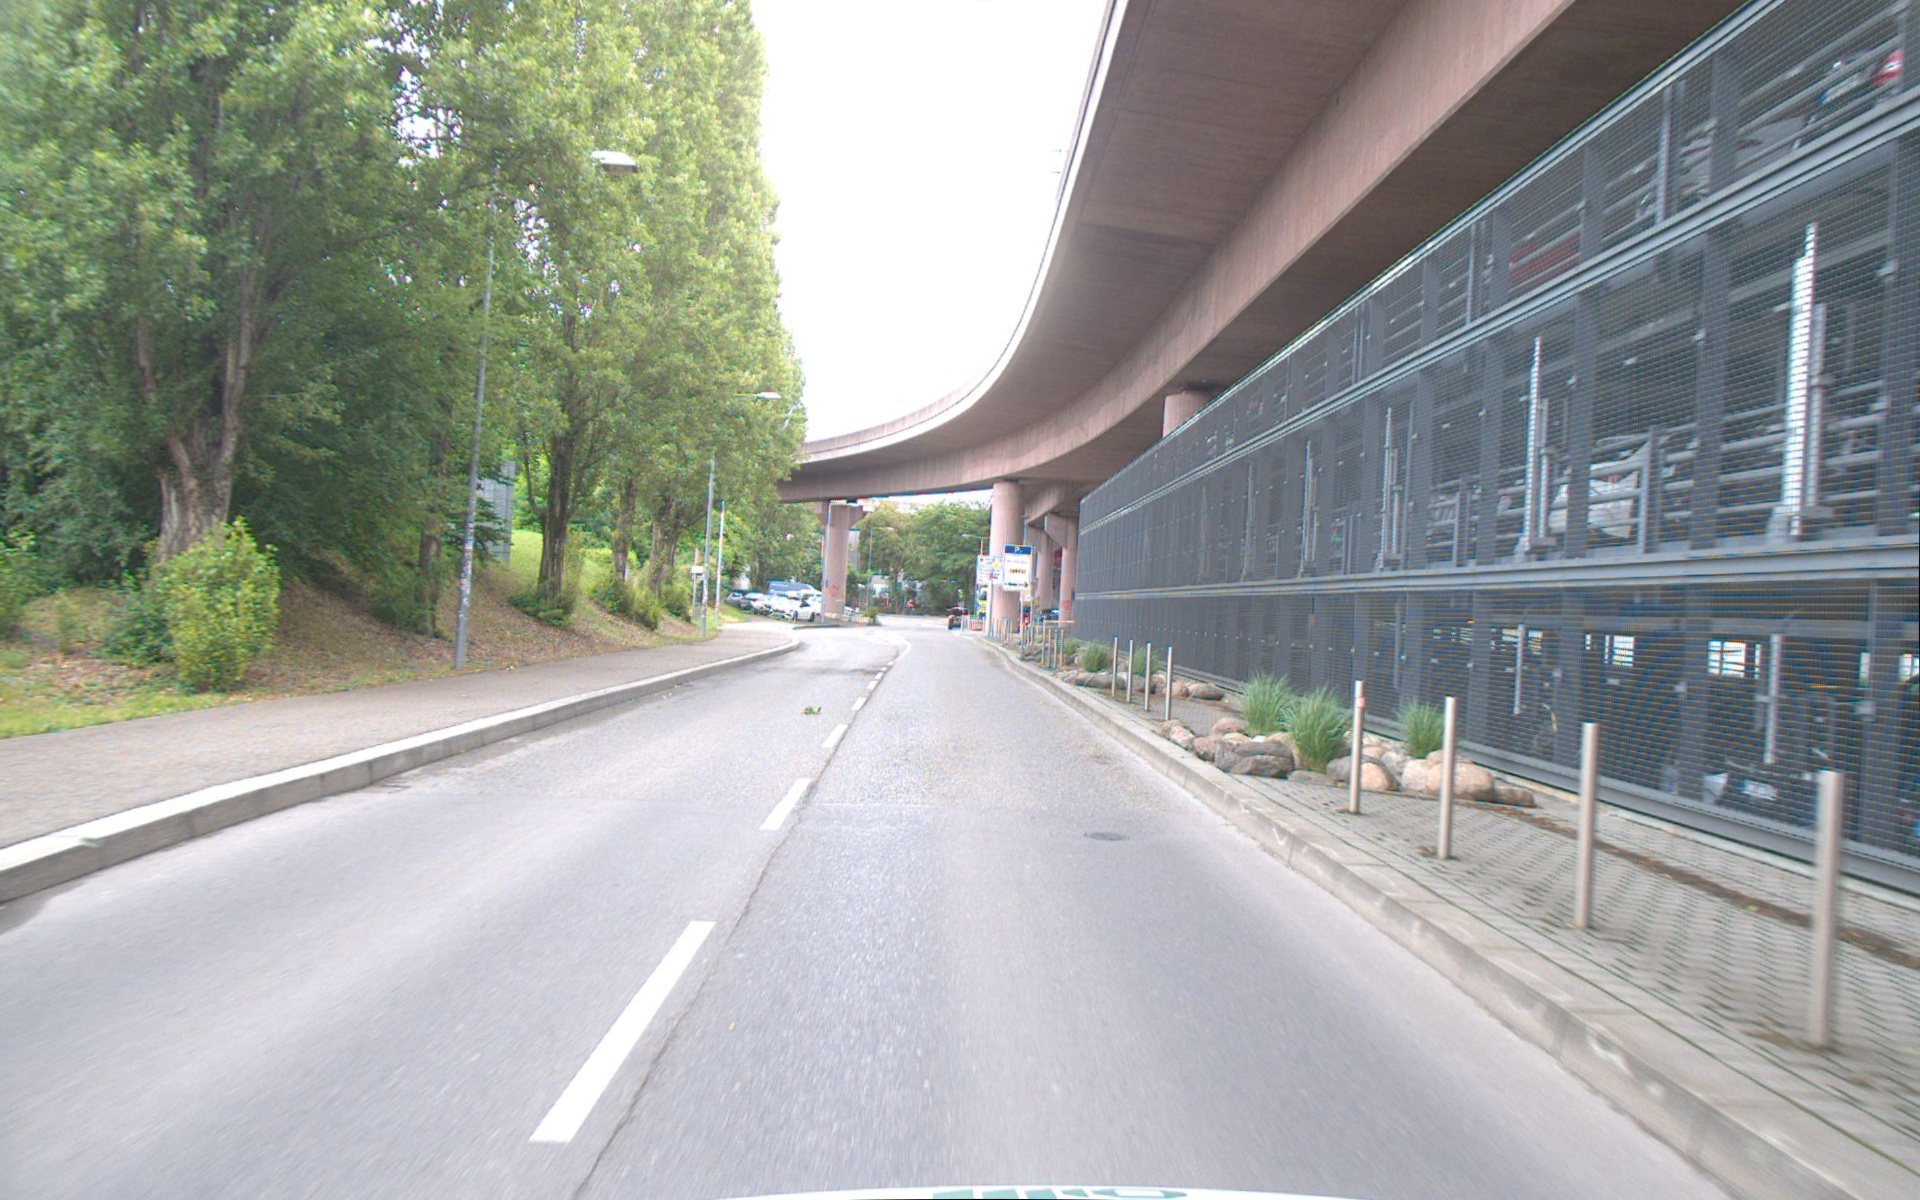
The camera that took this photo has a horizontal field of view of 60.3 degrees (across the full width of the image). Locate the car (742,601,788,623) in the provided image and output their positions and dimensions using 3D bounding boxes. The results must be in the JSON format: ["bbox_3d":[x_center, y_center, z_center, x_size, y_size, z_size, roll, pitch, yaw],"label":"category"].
[{"bbox_3d":[-14.512,0.885,123.059,1.751,1.479,3.746,3,-1,22],"label":"car"}]

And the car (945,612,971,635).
[{"bbox_3d":[-0.186,1.884,133.978,1.953,1.709,4.559,3,-1,-2],"label":"car"}]

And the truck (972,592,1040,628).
[{"bbox_3d":[4.967,0.999,178.017,2.882,3.540,8.207,6,4,38],"label":"truck"}]

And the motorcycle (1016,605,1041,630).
[{"bbox_3d":[3.966,1.026,95.796,0.783,1.390,2.119,2,0,-18],"label":"motorcycle"}]

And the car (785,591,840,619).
[{"bbox_3d":[-13.077,0.435,146.514,4.460,2.148,1.852,4,0,8],"label":"car"}]

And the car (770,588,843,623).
[{"bbox_3d":[-13.865,0.510,149.388,6.046,2.772,2.369,4,0,4],"label":"car"}]

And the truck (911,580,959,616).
[{"bbox_3d":[-2.981,-0.246,195.535,3.022,3.935,7.998,2,1,-21],"label":"truck"}]

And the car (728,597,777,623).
[{"bbox_3d":[-15.801,0.758,126.254,1.819,1.721,4.162,3,-1,23],"label":"car"}]

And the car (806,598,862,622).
[{"bbox_3d":[-10.743,0.830,140.952,4.289,1.633,1.956,5,0,12],"label":"car"}]

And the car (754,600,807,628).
[{"bbox_3d":[-12.984,0.997,119.919,1.954,1.609,4.400,7,-1,20],"label":"car"}]

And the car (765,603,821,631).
[{"bbox_3d":[-11.694,1.195,116.104,1.953,1.505,4.828,6,-1,20],"label":"car"}]

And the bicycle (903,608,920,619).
[{"bbox_3d":[-5.268,1.454,179.430,0.794,1.117,2.108,2,-1,-32],"label":"bicycle"}]

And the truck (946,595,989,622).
[{"bbox_3d":[0.822,0.991,196.796,2.874,2.949,6.517,2,1,-21],"label":"truck"}]

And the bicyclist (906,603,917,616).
[{"bbox_3d":[-5.246,1.014,179.416,0.788,1.430,1.055,2,-1,-32],"label":"bicyclist"}]
